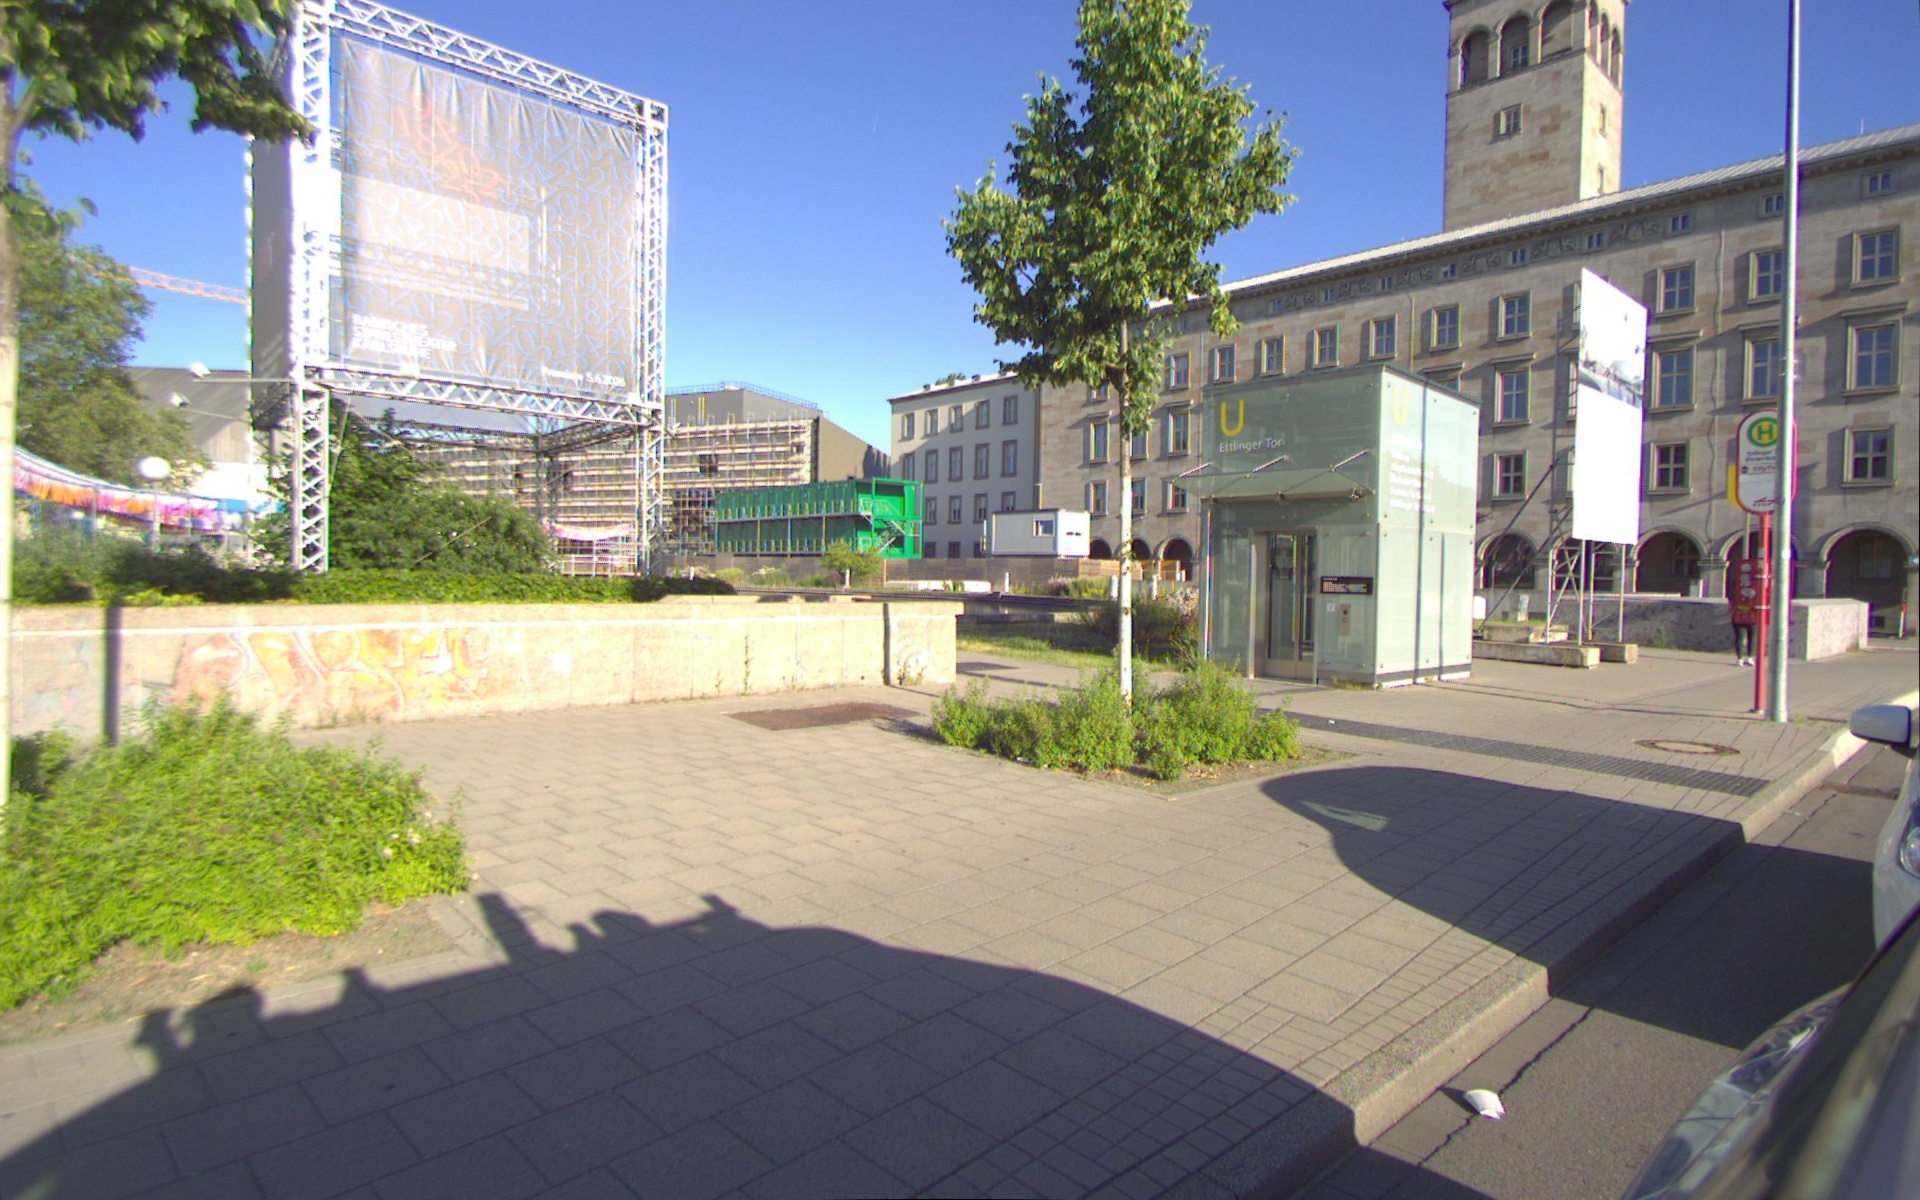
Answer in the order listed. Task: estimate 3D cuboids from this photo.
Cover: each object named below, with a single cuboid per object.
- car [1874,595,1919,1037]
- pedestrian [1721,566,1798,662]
[{"bbox_3d":[5.097,0.715,4.048,3.821,1.467,1.677,0,0,-41],"label":"car"},{"bbox_3d":[15.932,0.255,20.169,1.053,1.808,0.942,0,2,-41],"label":"pedestrian"}]
